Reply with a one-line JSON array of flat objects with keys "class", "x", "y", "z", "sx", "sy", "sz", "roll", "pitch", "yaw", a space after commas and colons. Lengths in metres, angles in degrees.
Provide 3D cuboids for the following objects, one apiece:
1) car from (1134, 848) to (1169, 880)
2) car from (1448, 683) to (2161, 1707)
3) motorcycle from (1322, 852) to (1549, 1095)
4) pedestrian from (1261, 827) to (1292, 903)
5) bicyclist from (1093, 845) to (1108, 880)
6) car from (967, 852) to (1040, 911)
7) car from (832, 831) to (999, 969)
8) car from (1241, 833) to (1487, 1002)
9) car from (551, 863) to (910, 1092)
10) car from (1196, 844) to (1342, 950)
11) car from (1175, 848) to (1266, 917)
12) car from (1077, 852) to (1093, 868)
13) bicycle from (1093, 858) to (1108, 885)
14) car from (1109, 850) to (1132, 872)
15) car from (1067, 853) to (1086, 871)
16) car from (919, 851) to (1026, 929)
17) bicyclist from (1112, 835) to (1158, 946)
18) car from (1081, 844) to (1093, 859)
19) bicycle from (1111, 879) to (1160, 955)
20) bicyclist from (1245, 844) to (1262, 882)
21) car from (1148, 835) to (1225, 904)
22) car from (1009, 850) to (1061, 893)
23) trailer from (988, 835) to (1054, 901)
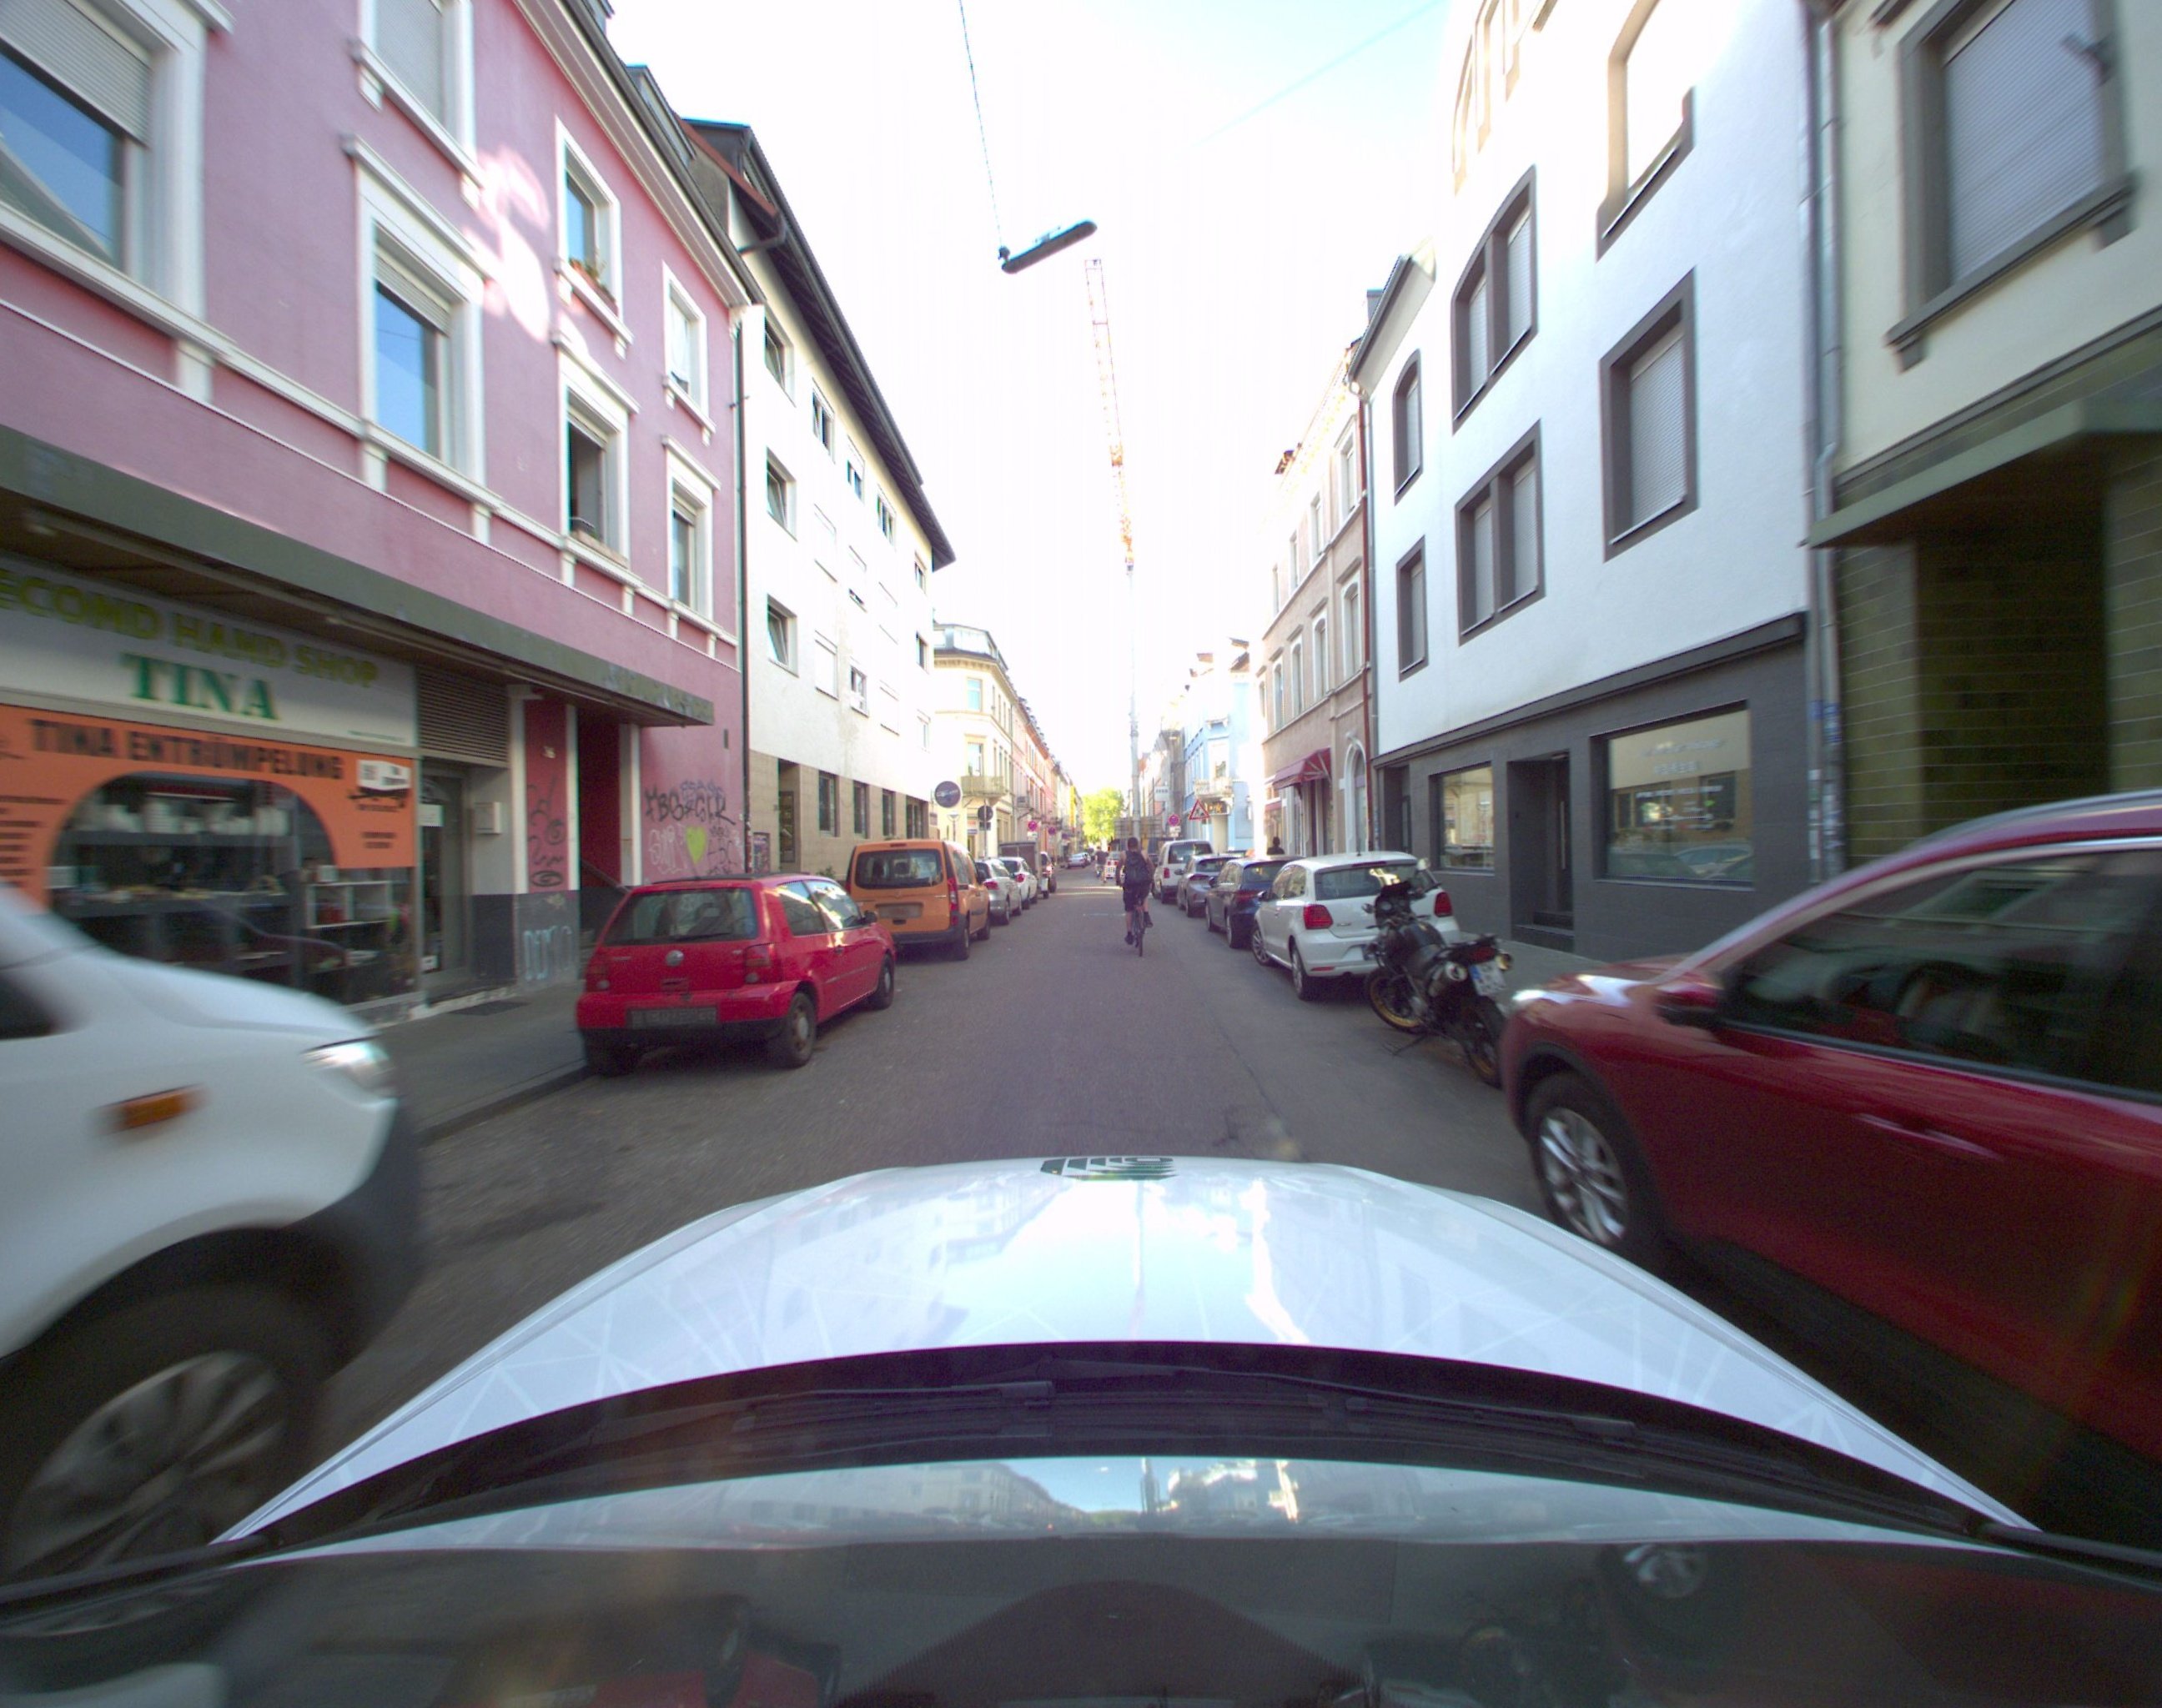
[{"class": "car", "x": 3.647, "y": 0.512, "z": 42.618, "sx": 1.605, "sy": 1.633, "sz": 3.611, "roll": 0, "pitch": -1, "yaw": 1}, {"class": "car", "x": 2.648, "y": 0.567, "z": 1.642, "sx": 1.911, "sy": 1.706, "sz": 4.367, "roll": -1, "pitch": 0, "yaw": 1}, {"class": "motorcycle", "x": 2.535, "y": 0.743, "z": 6.221, "sx": 0.744, "sy": 1.490, "sz": 2.422, "roll": 0, "pitch": -1, "yaw": 2}, {"class": "pedestrian", "x": 5.288, "y": 0.304, "z": 22.047, "sx": 0.642, "sy": 2.014, "sz": 0.764, "roll": 0, "pitch": -1, "yaw": 1}, {"class": "bicyclist", "x": 0.862, "y": 0.371, "z": 36.209, "sx": 0.668, "sy": 1.567, "sz": 0.716, "roll": 0, "pitch": -1, "yaw": 1}, {"class": "car", "x": -2.186, "y": 0.753, "z": 23.833, "sx": 1.647, "sy": 1.537, "sz": 3.635, "roll": -2, "pitch": -1, "yaw": 1}, {"class": "car", "x": -2.505, "y": 0.651, "z": 13.330, "sx": 1.746, "sy": 1.816, "sz": 4.078, "roll": -3, "pitch": -1, "yaw": 1}, {"class": "car", "x": 3.077, "y": 0.619, "z": 9.693, "sx": 1.660, "sy": 1.505, "sz": 3.818, "roll": -4, "pitch": -1, "yaw": 3}, {"class": "car", "x": -2.799, "y": 0.874, "z": 7.401, "sx": 1.573, "sy": 1.483, "sz": 3.566, "roll": -3, "pitch": -1, "yaw": 1}, {"class": "car", "x": 3.139, "y": 0.672, "z": 14.382, "sx": 1.640, "sy": 1.475, "sz": 3.972, "roll": -5, "pitch": -1, "yaw": 1}, {"class": "car", "x": 3.363, "y": 0.659, "z": 20.203, "sx": 1.743, "sy": 1.487, "sz": 3.802, "roll": -2, "pitch": -1, "yaw": 3}, {"class": "car", "x": 0.523, "y": 0.697, "z": 99.504, "sx": 1.744, "sy": 1.821, "sz": 3.797, "roll": -2, "pitch": -1, "yaw": 1}, {"class": "bicycle", "x": 0.870, "y": 0.759, "z": 36.223, "sx": 0.646, "sy": 1.129, "sz": 2.136, "roll": 0, "pitch": -1, "yaw": 1}, {"class": "car", "x": 2.852, "y": 0.519, "z": 58.953, "sx": 1.605, "sy": 1.560, "sz": 3.611, "roll": 0, "pitch": -1, "yaw": 1}, {"class": "car", "x": -0.436, "y": 0.834, "z": 81.717, "sx": 1.744, "sy": 1.683, "sz": 3.797, "roll": -2, "pitch": -1, "yaw": 1}, {"class": "car", "x": -2.383, "y": 0.760, "z": 18.887, "sx": 1.744, "sy": 1.537, "sz": 4.320, "roll": -2, "pitch": -1, "yaw": 1}, {"class": "bicyclist", "x": 0.836, "y": 0.550, "z": 12.854, "sx": 0.665, "sy": 1.677, "sz": 1.097, "roll": 0, "pitch": -1, "yaw": 1}, {"class": "car", "x": 1.034, "y": -0.349, "z": 128.797, "sx": 1.744, "sy": 2.318, "sz": 3.797, "roll": -2, "pitch": -1, "yaw": 1}, {"class": "bicycle", "x": 0.836, "y": 0.948, "z": 12.876, "sx": 0.674, "sy": 1.074, "sz": 1.942, "roll": 0, "pitch": -1, "yaw": 1}, {"class": "bicyclist", "x": 7.877, "y": 0.418, "z": 37.268, "sx": 0.679, "sy": 1.706, "sz": 0.381, "roll": 0, "pitch": -1, "yaw": -2}, {"class": "car", "x": 3.181, "y": 0.460, "z": 25.274, "sx": 1.745, "sy": 1.879, "sz": 3.971, "roll": -2, "pitch": -1, "yaw": -1}, {"class": "car", "x": -1.797, "y": 0.697, "z": 32.889, "sx": 1.744, "sy": 1.573, "sz": 3.797, "roll": -2, "pitch": -1, "yaw": 1}, {"class": "trailer", "x": -2.032, "y": 0.477, "z": 28.579, "sx": 1.875, "sy": 2.092, "sz": 3.738, "roll": -2, "pitch": -1, "yaw": 1}]
